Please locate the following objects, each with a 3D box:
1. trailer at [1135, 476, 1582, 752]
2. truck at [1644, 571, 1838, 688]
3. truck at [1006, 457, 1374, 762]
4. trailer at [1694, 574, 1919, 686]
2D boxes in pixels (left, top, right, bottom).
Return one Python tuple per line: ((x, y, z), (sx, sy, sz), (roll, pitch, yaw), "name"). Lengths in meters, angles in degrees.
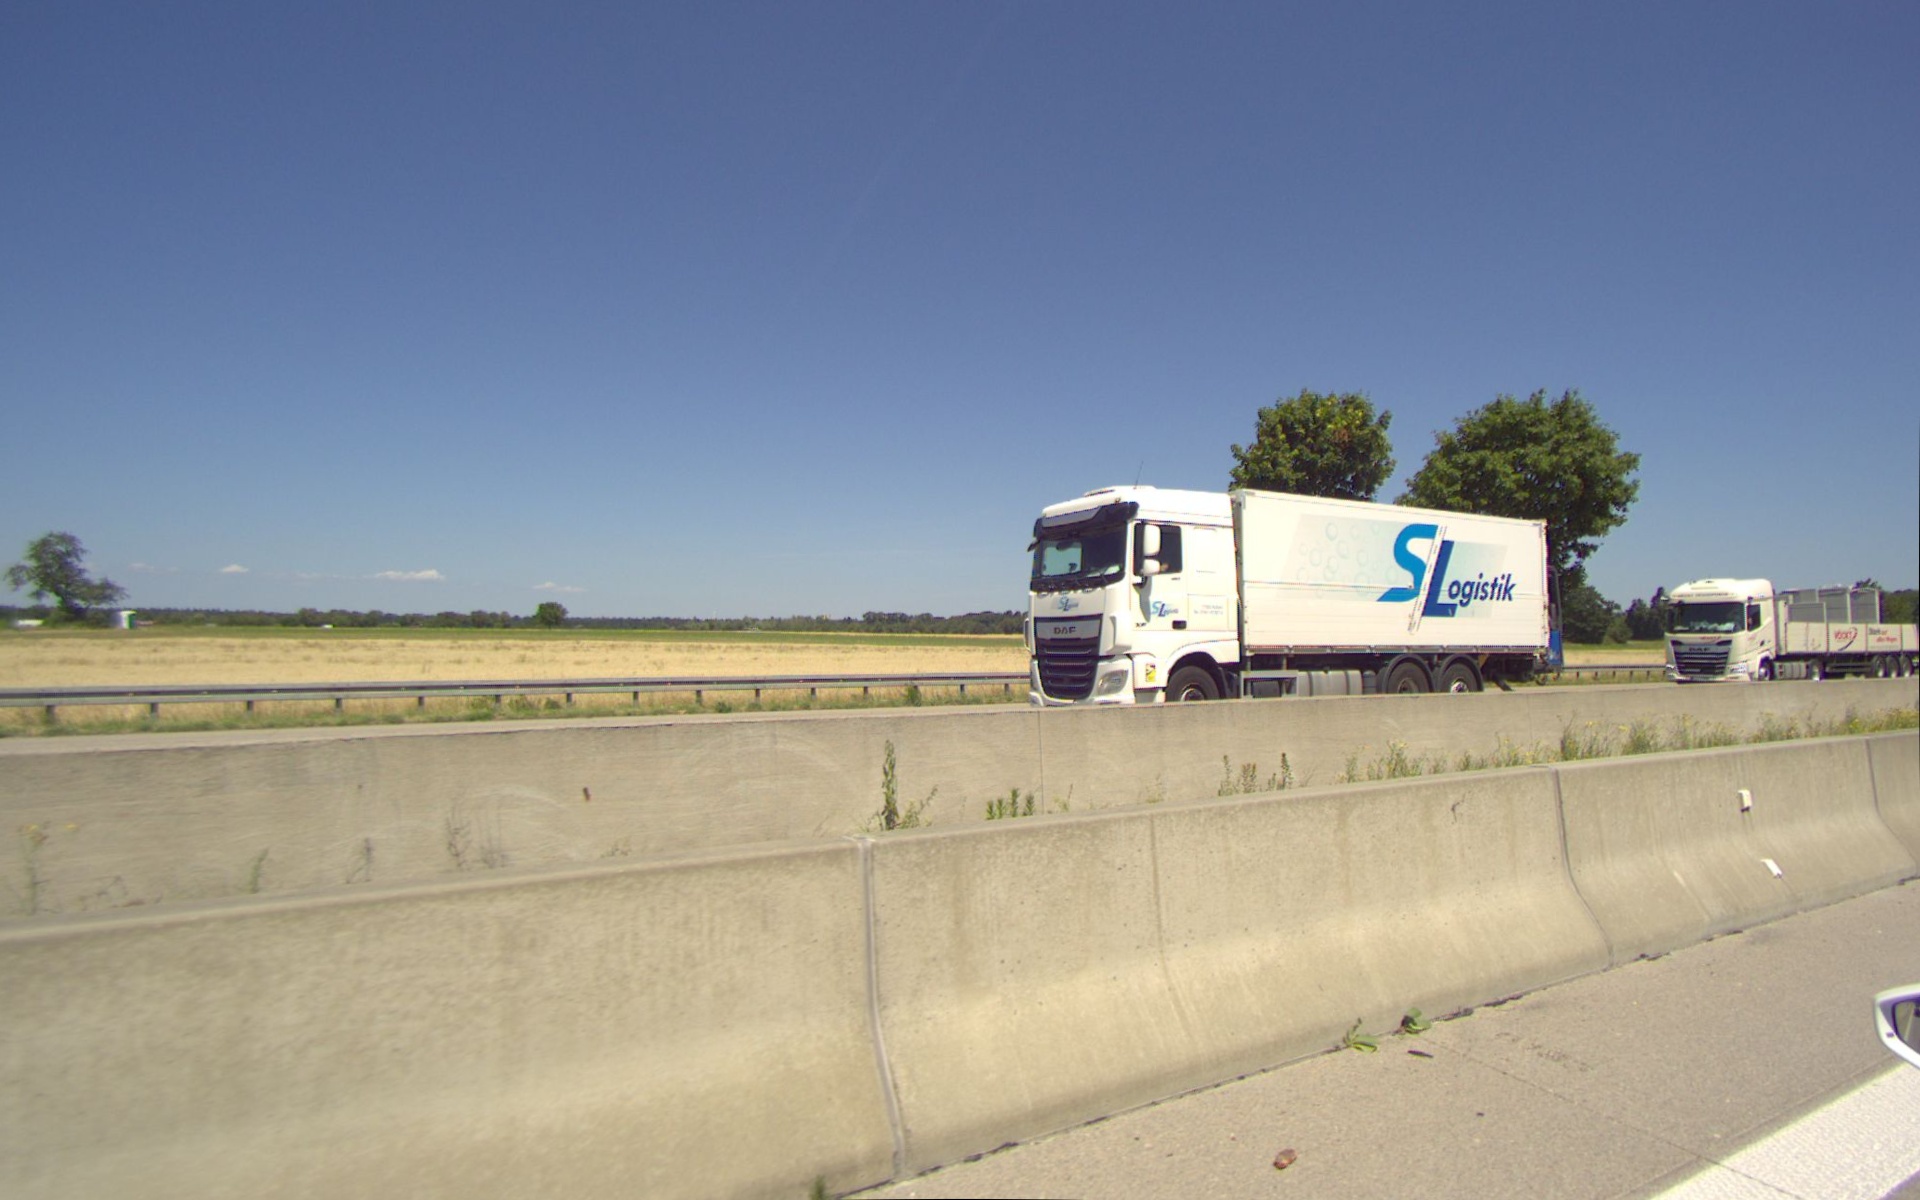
((7.347, 0.287, 18.033), (8.379, 4.023, 2.886), (1, 0, -31), "trailer")
((27.163, 1.008, 34.864), (7.150, 3.736, 2.790), (1, 0, -30), "truck")
((3.617, 0.171, 15.804), (4.987, 4.023, 2.886), (1, 0, -30), "truck")
((32.826, 1.158, 38.119), (13.587, 3.733, 2.790), (2, 0, -30), "trailer")
